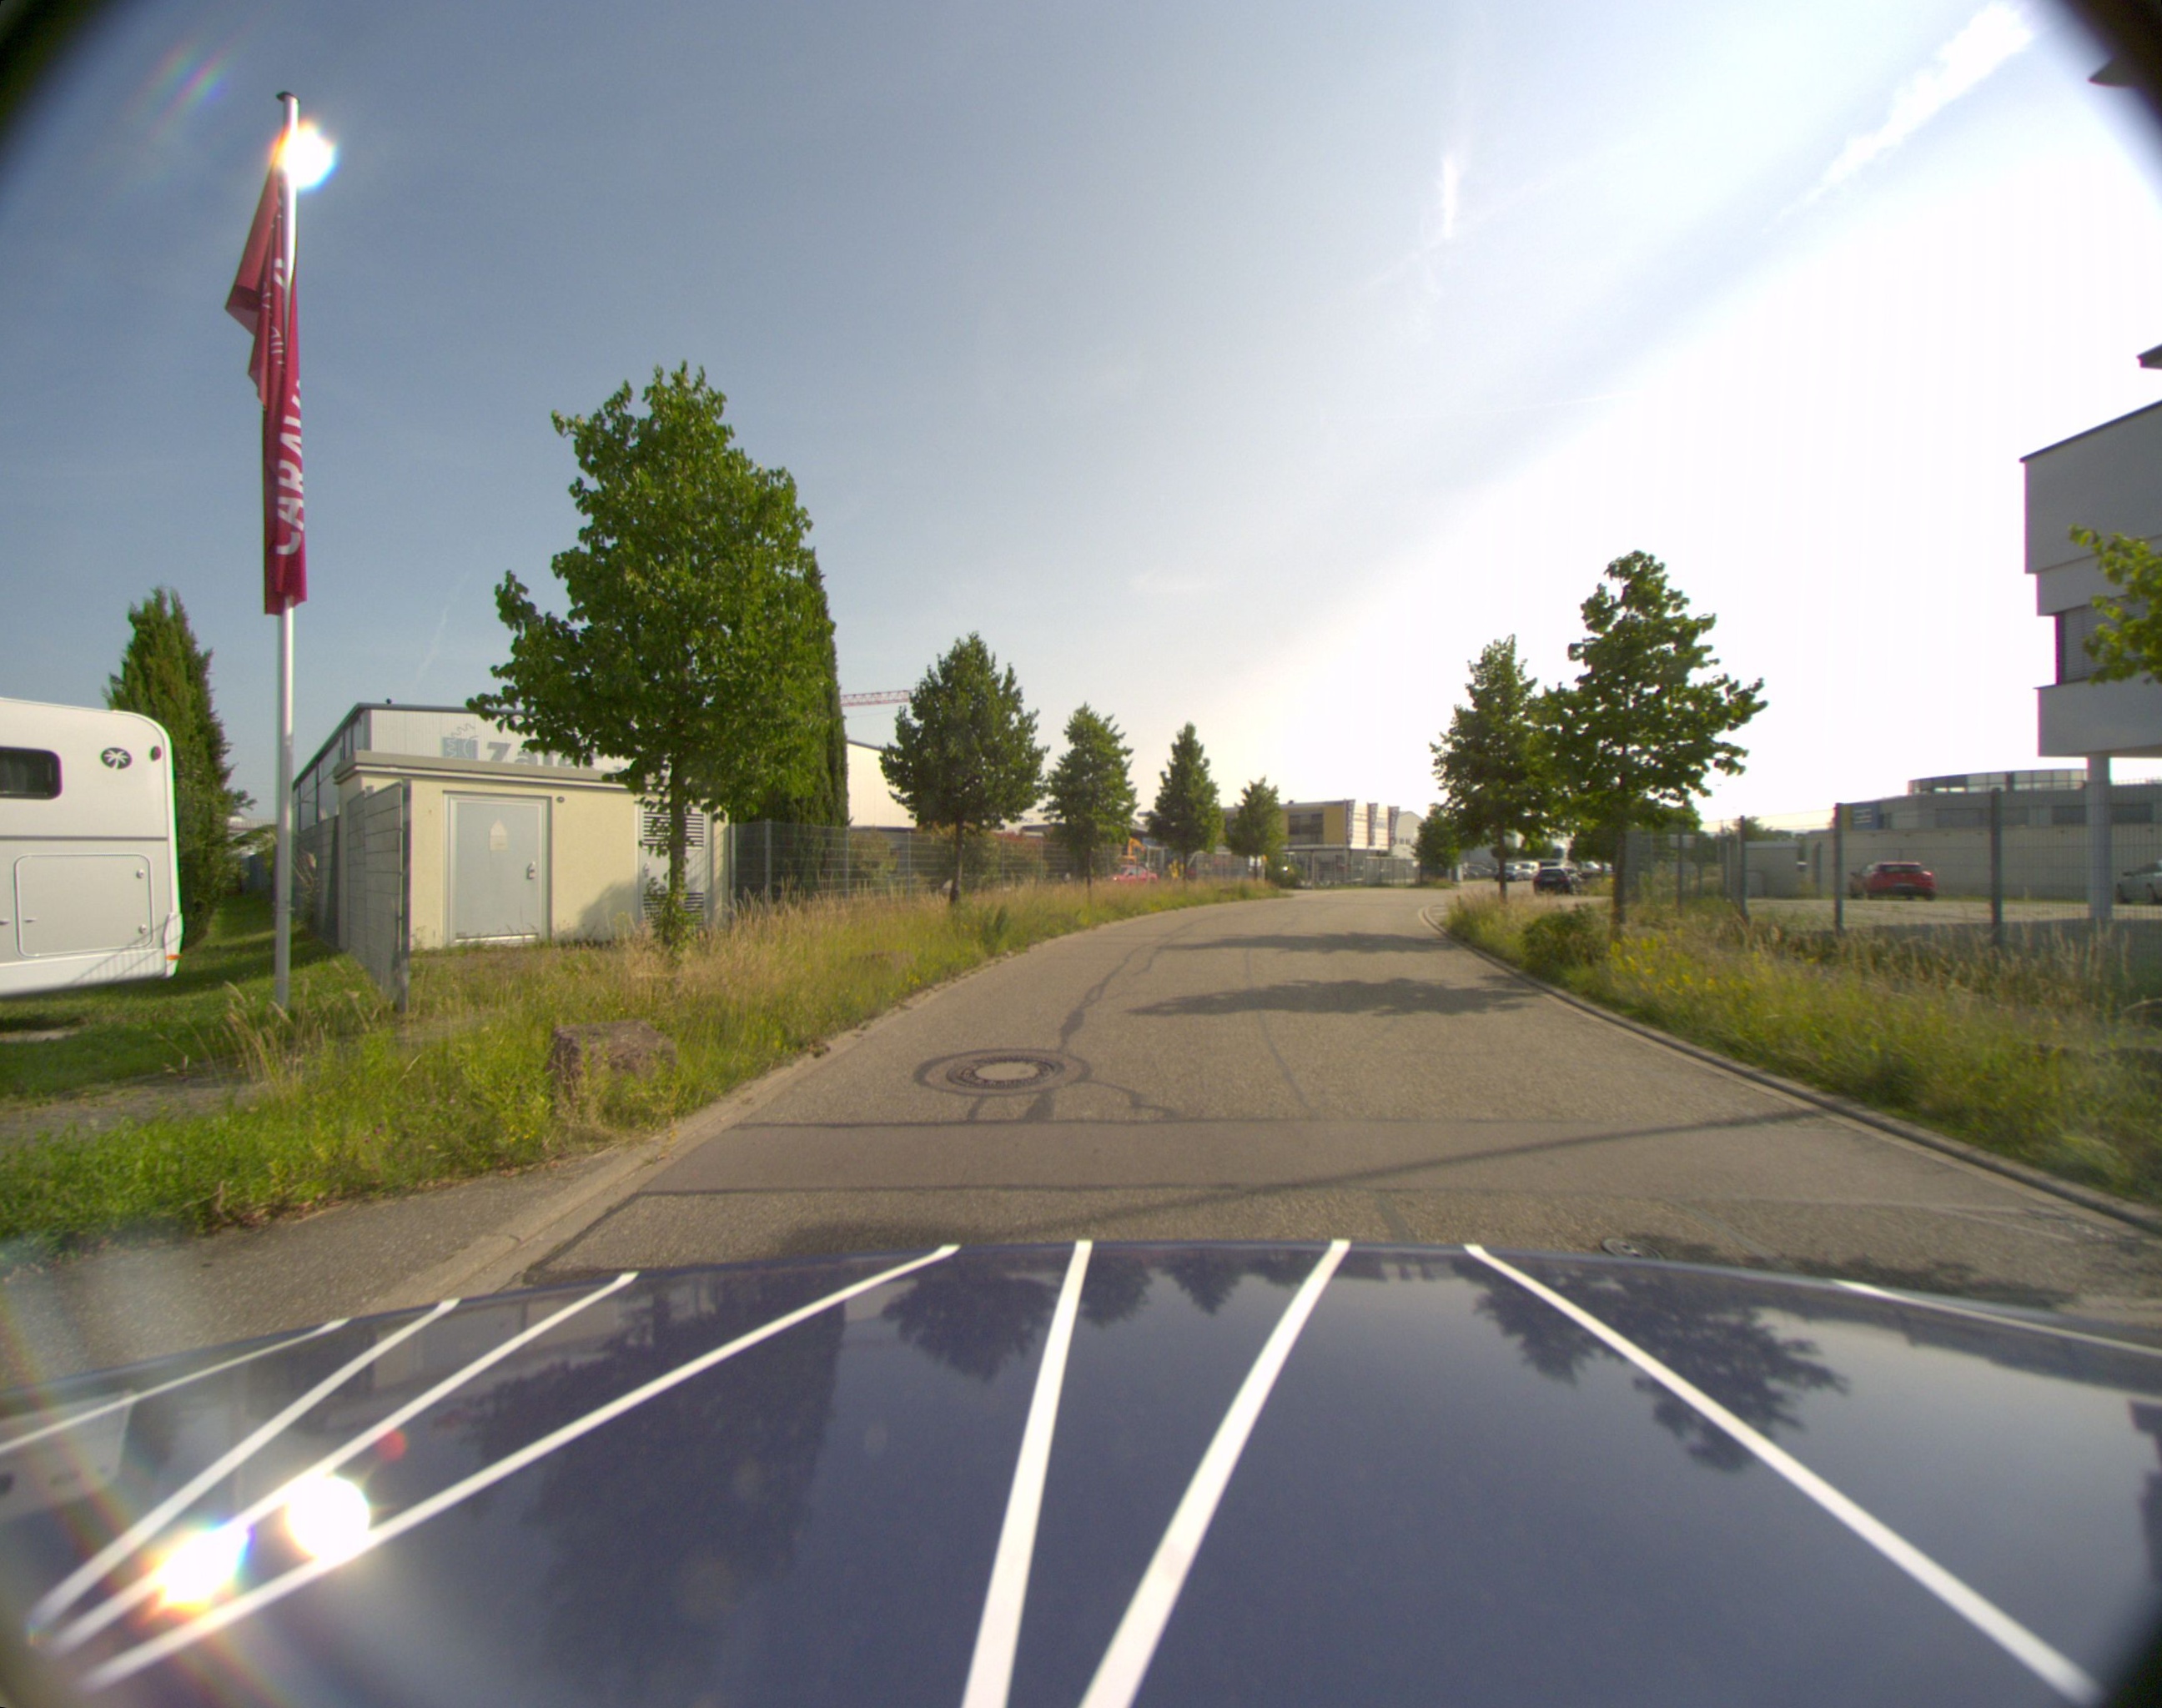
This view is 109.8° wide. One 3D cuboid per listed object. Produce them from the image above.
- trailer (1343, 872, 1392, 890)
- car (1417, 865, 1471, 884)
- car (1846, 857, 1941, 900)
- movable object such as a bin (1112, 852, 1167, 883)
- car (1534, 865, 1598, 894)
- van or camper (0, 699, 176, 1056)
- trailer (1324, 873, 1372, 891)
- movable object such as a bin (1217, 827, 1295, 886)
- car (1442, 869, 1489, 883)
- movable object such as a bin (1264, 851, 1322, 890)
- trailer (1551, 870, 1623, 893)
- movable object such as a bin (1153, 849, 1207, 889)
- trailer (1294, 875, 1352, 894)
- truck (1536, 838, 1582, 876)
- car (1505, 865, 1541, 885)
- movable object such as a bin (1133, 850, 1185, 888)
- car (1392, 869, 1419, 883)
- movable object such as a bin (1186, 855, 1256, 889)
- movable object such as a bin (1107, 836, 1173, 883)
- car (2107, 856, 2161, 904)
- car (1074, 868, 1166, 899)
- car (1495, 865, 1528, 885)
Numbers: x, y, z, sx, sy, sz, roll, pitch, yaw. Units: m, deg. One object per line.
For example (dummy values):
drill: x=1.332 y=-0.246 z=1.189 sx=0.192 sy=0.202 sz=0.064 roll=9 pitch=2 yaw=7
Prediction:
trailer: x=22.895 y=2.126 z=60.613 sx=1.994 sy=1.303 sz=4.573 roll=-1 pitch=0 yaw=43
car: x=33.417 y=1.858 z=70.032 sx=4.226 sy=1.727 sz=1.904 roll=-1 pitch=-1 yaw=35
car: x=30.904 y=0.932 z=29.034 sx=1.771 sy=1.515 sz=4.314 roll=0 pitch=-2 yaw=37
movable object such as a bin: x=5.497 y=1.243 z=70.225 sx=2.054 sy=2.752 sz=5.703 roll=1 pitch=-1 yaw=41
car: x=25.290 y=1.348 z=39.566 sx=1.995 sy=1.457 sz=4.443 roll=-3 pitch=-3 yaw=43
van or camper: x=-10.233 y=0.196 z=3.619 sx=2.353 sy=2.831 sz=7.348 roll=0 pitch=0 yaw=11
trailer: x=19.988 y=2.096 z=56.841 sx=1.945 sy=1.236 sz=4.304 roll=0 pitch=-1 yaw=41
movable object such as a bin: x=15.251 y=0.314 z=65.815 sx=3.317 sy=4.777 sz=7.691 roll=0 pitch=-1 yaw=41
car: x=38.959 y=2.253 z=77.035 sx=3.989 sy=1.362 sz=1.795 roll=-3 pitch=-2 yaw=38
movable object such as a bin: x=15.628 y=1.188 z=55.849 sx=1.887 sy=2.735 sz=5.171 roll=0 pitch=-1 yaw=43
trailer: x=29.495 y=1.567 z=44.166 sx=2.131 sy=1.224 sz=7.173 roll=-3 pitch=-3 yaw=44
movable object such as a bin: x=7.915 y=1.169 z=60.399 sx=1.993 sy=3.013 sz=4.502 roll=0 pitch=-1 yaw=43
trailer: x=16.950 y=2.083 z=53.069 sx=2.127 sy=1.236 sz=4.807 roll=0 pitch=-1 yaw=41
truck: x=54.086 y=0.406 z=85.882 sx=2.746 sy=3.992 sz=9.708 roll=2 pitch=1 yaw=42
car: x=42.961 y=2.009 z=73.744 sx=1.994 sy=1.779 sz=4.609 roll=-1 pitch=0 yaw=43
movable object such as a bin: x=6.403 y=1.210 z=62.196 sx=1.993 sy=3.013 sz=4.383 roll=0 pitch=-1 yaw=43
car: x=38.019 y=2.557 z=88.876 sx=1.890 sy=1.547 sz=4.381 roll=-1 pitch=-1 yaw=37
movable object such as a bin: x=10.792 y=1.385 z=58.375 sx=2.923 sy=2.476 sz=5.351 roll=0 pitch=-1 yaw=43
movable object such as a bin: x=5.088 y=0.509 z=64.824 sx=2.685 sy=3.850 sz=5.731 roll=0 pitch=-1 yaw=43
car: x=35.275 y=0.861 z=24.413 sx=1.833 sy=1.485 sz=4.488 roll=-1 pitch=-2 yaw=41
car: x=1.916 y=1.363 z=35.978 sx=1.881 sy=1.349 sz=4.784 roll=0 pitch=-1 yaw=39
car: x=39.718 y=1.919 z=70.096 sx=1.826 sy=1.710 sz=4.258 roll=-1 pitch=0 yaw=41
